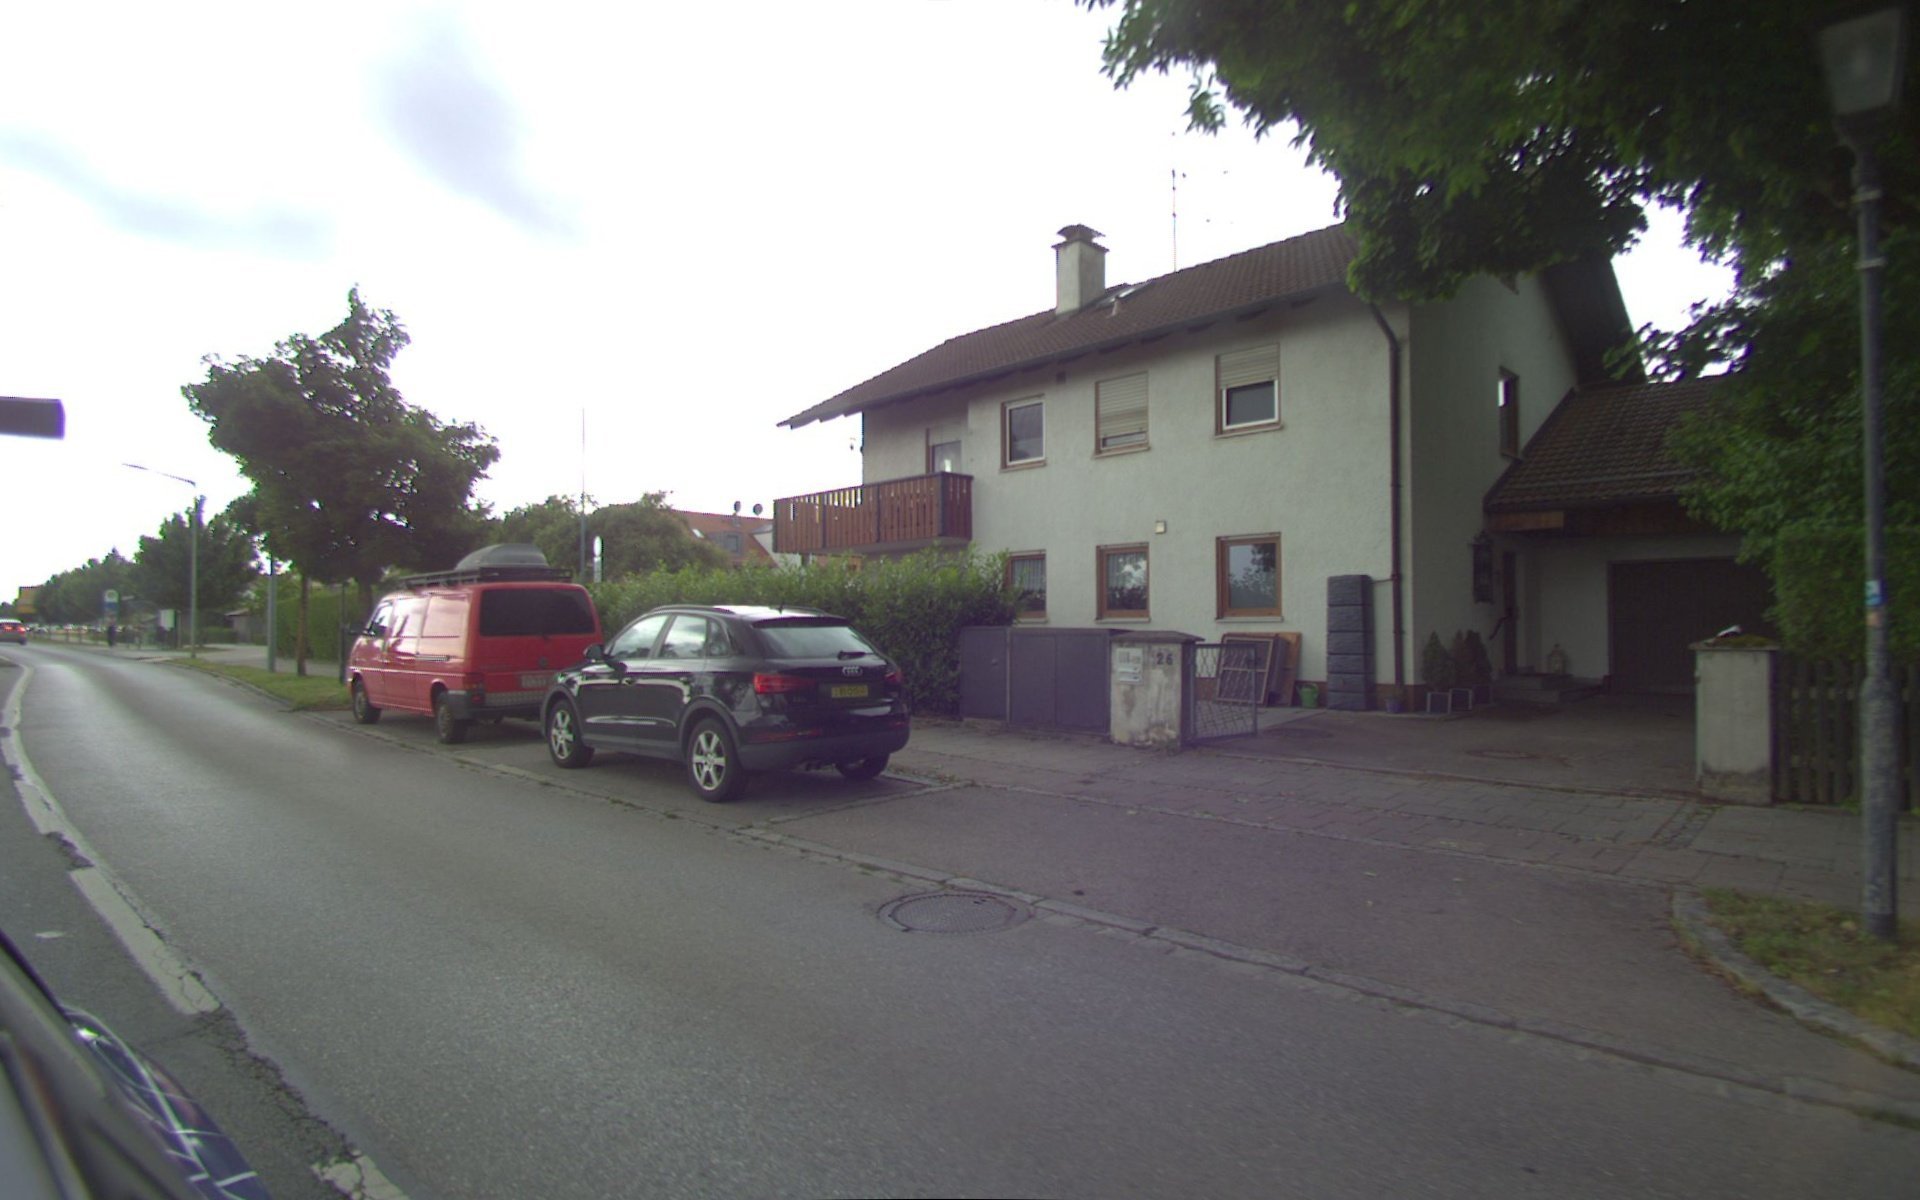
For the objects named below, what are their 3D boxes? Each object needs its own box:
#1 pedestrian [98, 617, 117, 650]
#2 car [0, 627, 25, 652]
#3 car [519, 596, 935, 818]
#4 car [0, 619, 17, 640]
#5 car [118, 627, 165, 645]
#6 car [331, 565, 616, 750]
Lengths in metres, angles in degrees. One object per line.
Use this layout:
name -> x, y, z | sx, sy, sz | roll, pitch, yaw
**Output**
pedestrian -> -42.296, 1.651, 50.215 | 0.813, 1.649, 0.582 | -2, -2, 43
car -> -61.856, 2.531, 65.583 | 1.687, 1.544, 3.509 | 4, -4, -45
car -> -2.351, 0.830, 9.466 | 4.238, 1.610, 1.752 | -2, -2, 44
car -> -95.488, 2.940, 98.388 | 1.982, 2.029, 5.290 | -1, 0, 16
car -> -103.278, 4.514, 127.728 | 4.504, 2.029, 2.002 | -1, 0, -43
car -> -6.691, 0.707, 13.608 | 5.047, 2.046, 1.809 | -2, -2, 44
